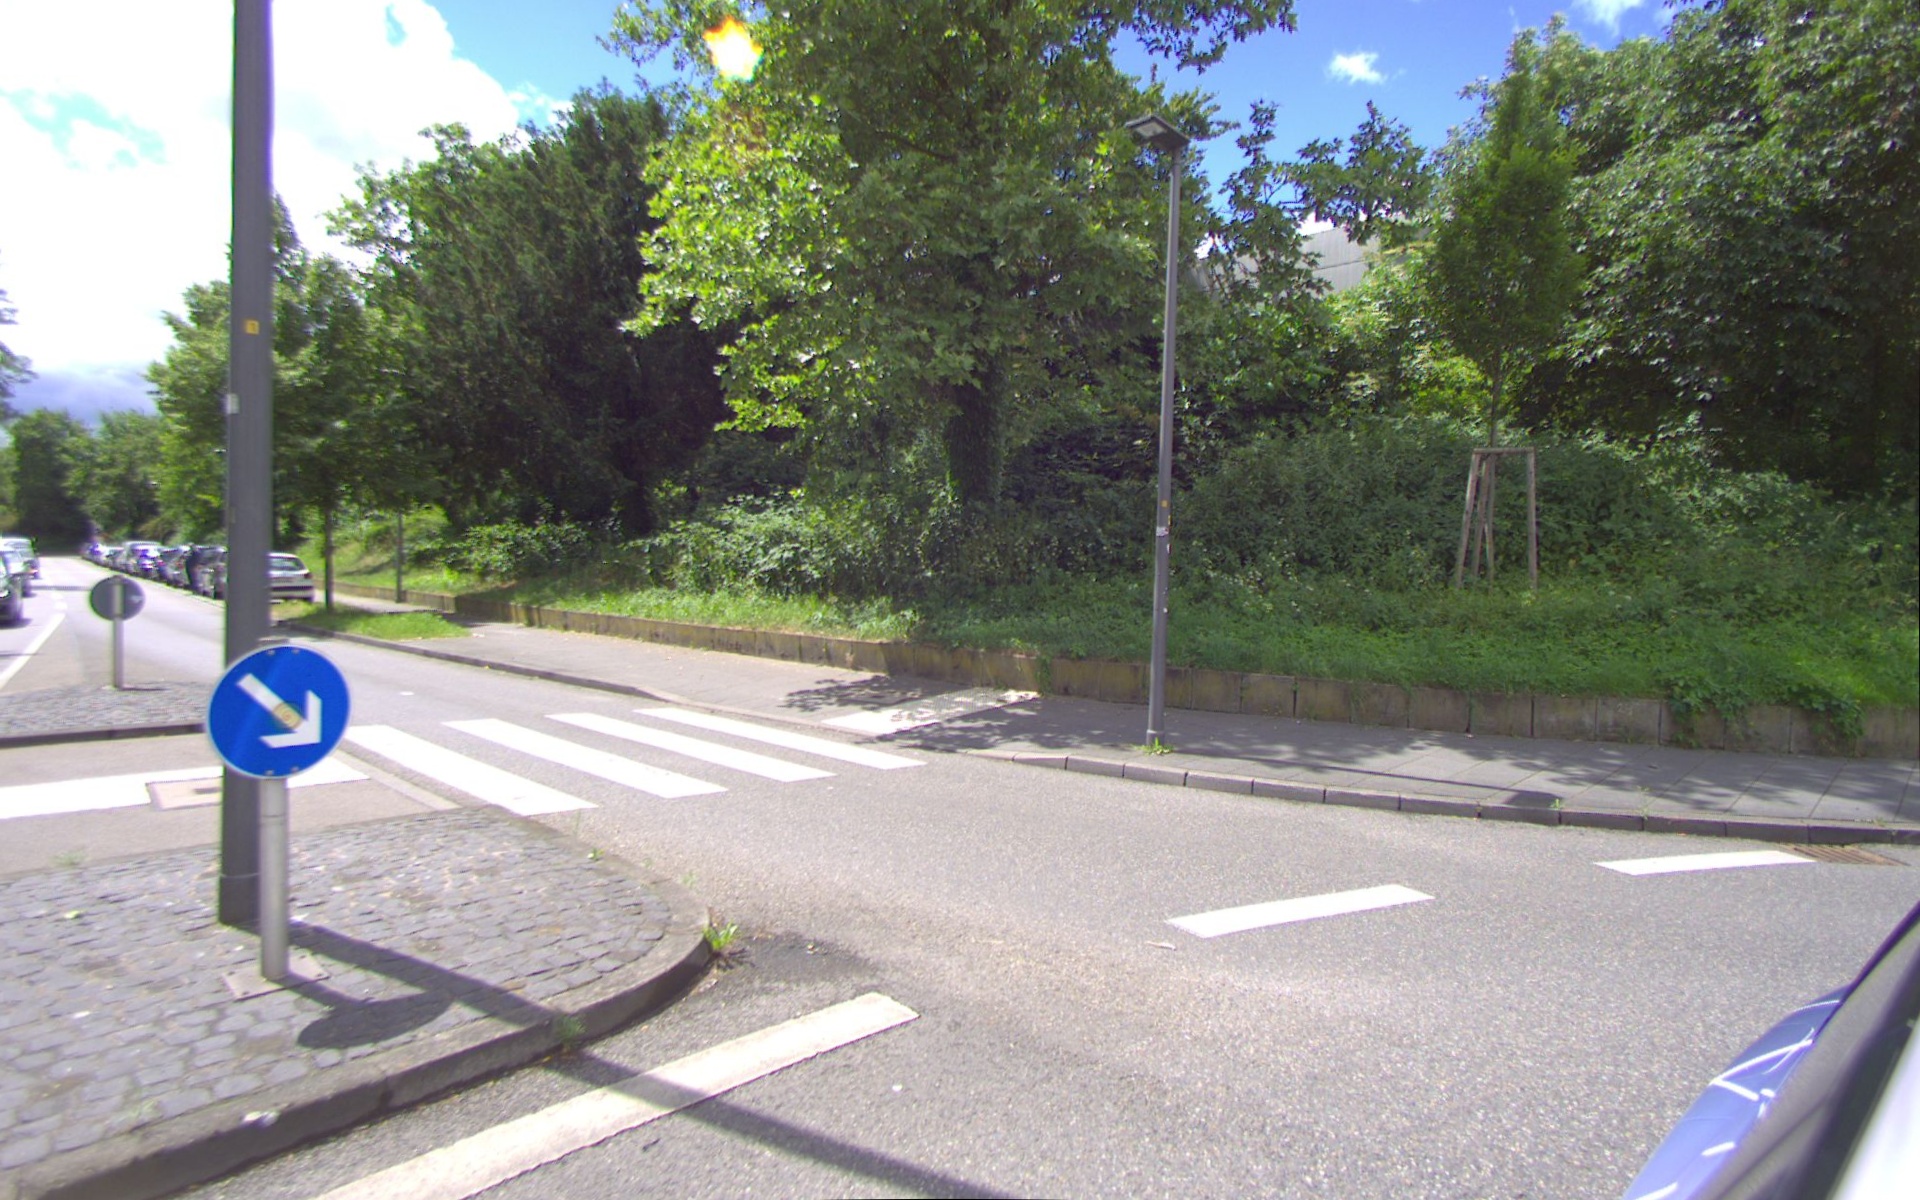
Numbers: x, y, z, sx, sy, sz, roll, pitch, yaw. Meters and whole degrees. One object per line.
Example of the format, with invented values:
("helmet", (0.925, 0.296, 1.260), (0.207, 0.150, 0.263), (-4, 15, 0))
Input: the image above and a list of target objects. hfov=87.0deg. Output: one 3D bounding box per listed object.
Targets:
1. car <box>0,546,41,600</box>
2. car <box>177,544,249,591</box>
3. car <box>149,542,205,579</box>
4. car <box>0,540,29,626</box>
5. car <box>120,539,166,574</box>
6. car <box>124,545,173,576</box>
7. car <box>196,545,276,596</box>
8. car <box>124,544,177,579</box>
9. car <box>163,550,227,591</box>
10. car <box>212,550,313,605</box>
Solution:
("car", (-28.843, -0.829, 30.081), (4.570, 1.526, 1.969), (3, 2, 44))
("car", (-26.016, -1.138, 35.205), (1.899, 1.504, 3.998), (1, 2, -38))
("car", (-34.764, -1.751, 44.943), (1.899, 1.504, 3.998), (1, 2, -38))
("car", (-19.152, -0.365, 19.231), (1.968, 1.526, 4.573), (-2, 3, -45))
("car", (-46.078, -2.451, 57.140), (1.899, 1.826, 3.998), (1, 2, -38))
("car", (-41.911, -2.036, 52.315), (1.899, 1.504, 3.998), (1, 2, -38))
("car", (-22.995, -0.955, 32.082), (1.899, 1.504, 3.998), (1, 2, -38))
("car", (-38.363, -1.834, 48.031), (1.899, 1.504, 3.998), (1, 2, -38))
("car", (-29.965, -1.168, 39.638), (1.899, 1.504, 3.998), (1, 2, -38))
("car", (-19.307, -0.667, 27.950), (1.728, 1.346, 3.993), (-4, 5, -43))
